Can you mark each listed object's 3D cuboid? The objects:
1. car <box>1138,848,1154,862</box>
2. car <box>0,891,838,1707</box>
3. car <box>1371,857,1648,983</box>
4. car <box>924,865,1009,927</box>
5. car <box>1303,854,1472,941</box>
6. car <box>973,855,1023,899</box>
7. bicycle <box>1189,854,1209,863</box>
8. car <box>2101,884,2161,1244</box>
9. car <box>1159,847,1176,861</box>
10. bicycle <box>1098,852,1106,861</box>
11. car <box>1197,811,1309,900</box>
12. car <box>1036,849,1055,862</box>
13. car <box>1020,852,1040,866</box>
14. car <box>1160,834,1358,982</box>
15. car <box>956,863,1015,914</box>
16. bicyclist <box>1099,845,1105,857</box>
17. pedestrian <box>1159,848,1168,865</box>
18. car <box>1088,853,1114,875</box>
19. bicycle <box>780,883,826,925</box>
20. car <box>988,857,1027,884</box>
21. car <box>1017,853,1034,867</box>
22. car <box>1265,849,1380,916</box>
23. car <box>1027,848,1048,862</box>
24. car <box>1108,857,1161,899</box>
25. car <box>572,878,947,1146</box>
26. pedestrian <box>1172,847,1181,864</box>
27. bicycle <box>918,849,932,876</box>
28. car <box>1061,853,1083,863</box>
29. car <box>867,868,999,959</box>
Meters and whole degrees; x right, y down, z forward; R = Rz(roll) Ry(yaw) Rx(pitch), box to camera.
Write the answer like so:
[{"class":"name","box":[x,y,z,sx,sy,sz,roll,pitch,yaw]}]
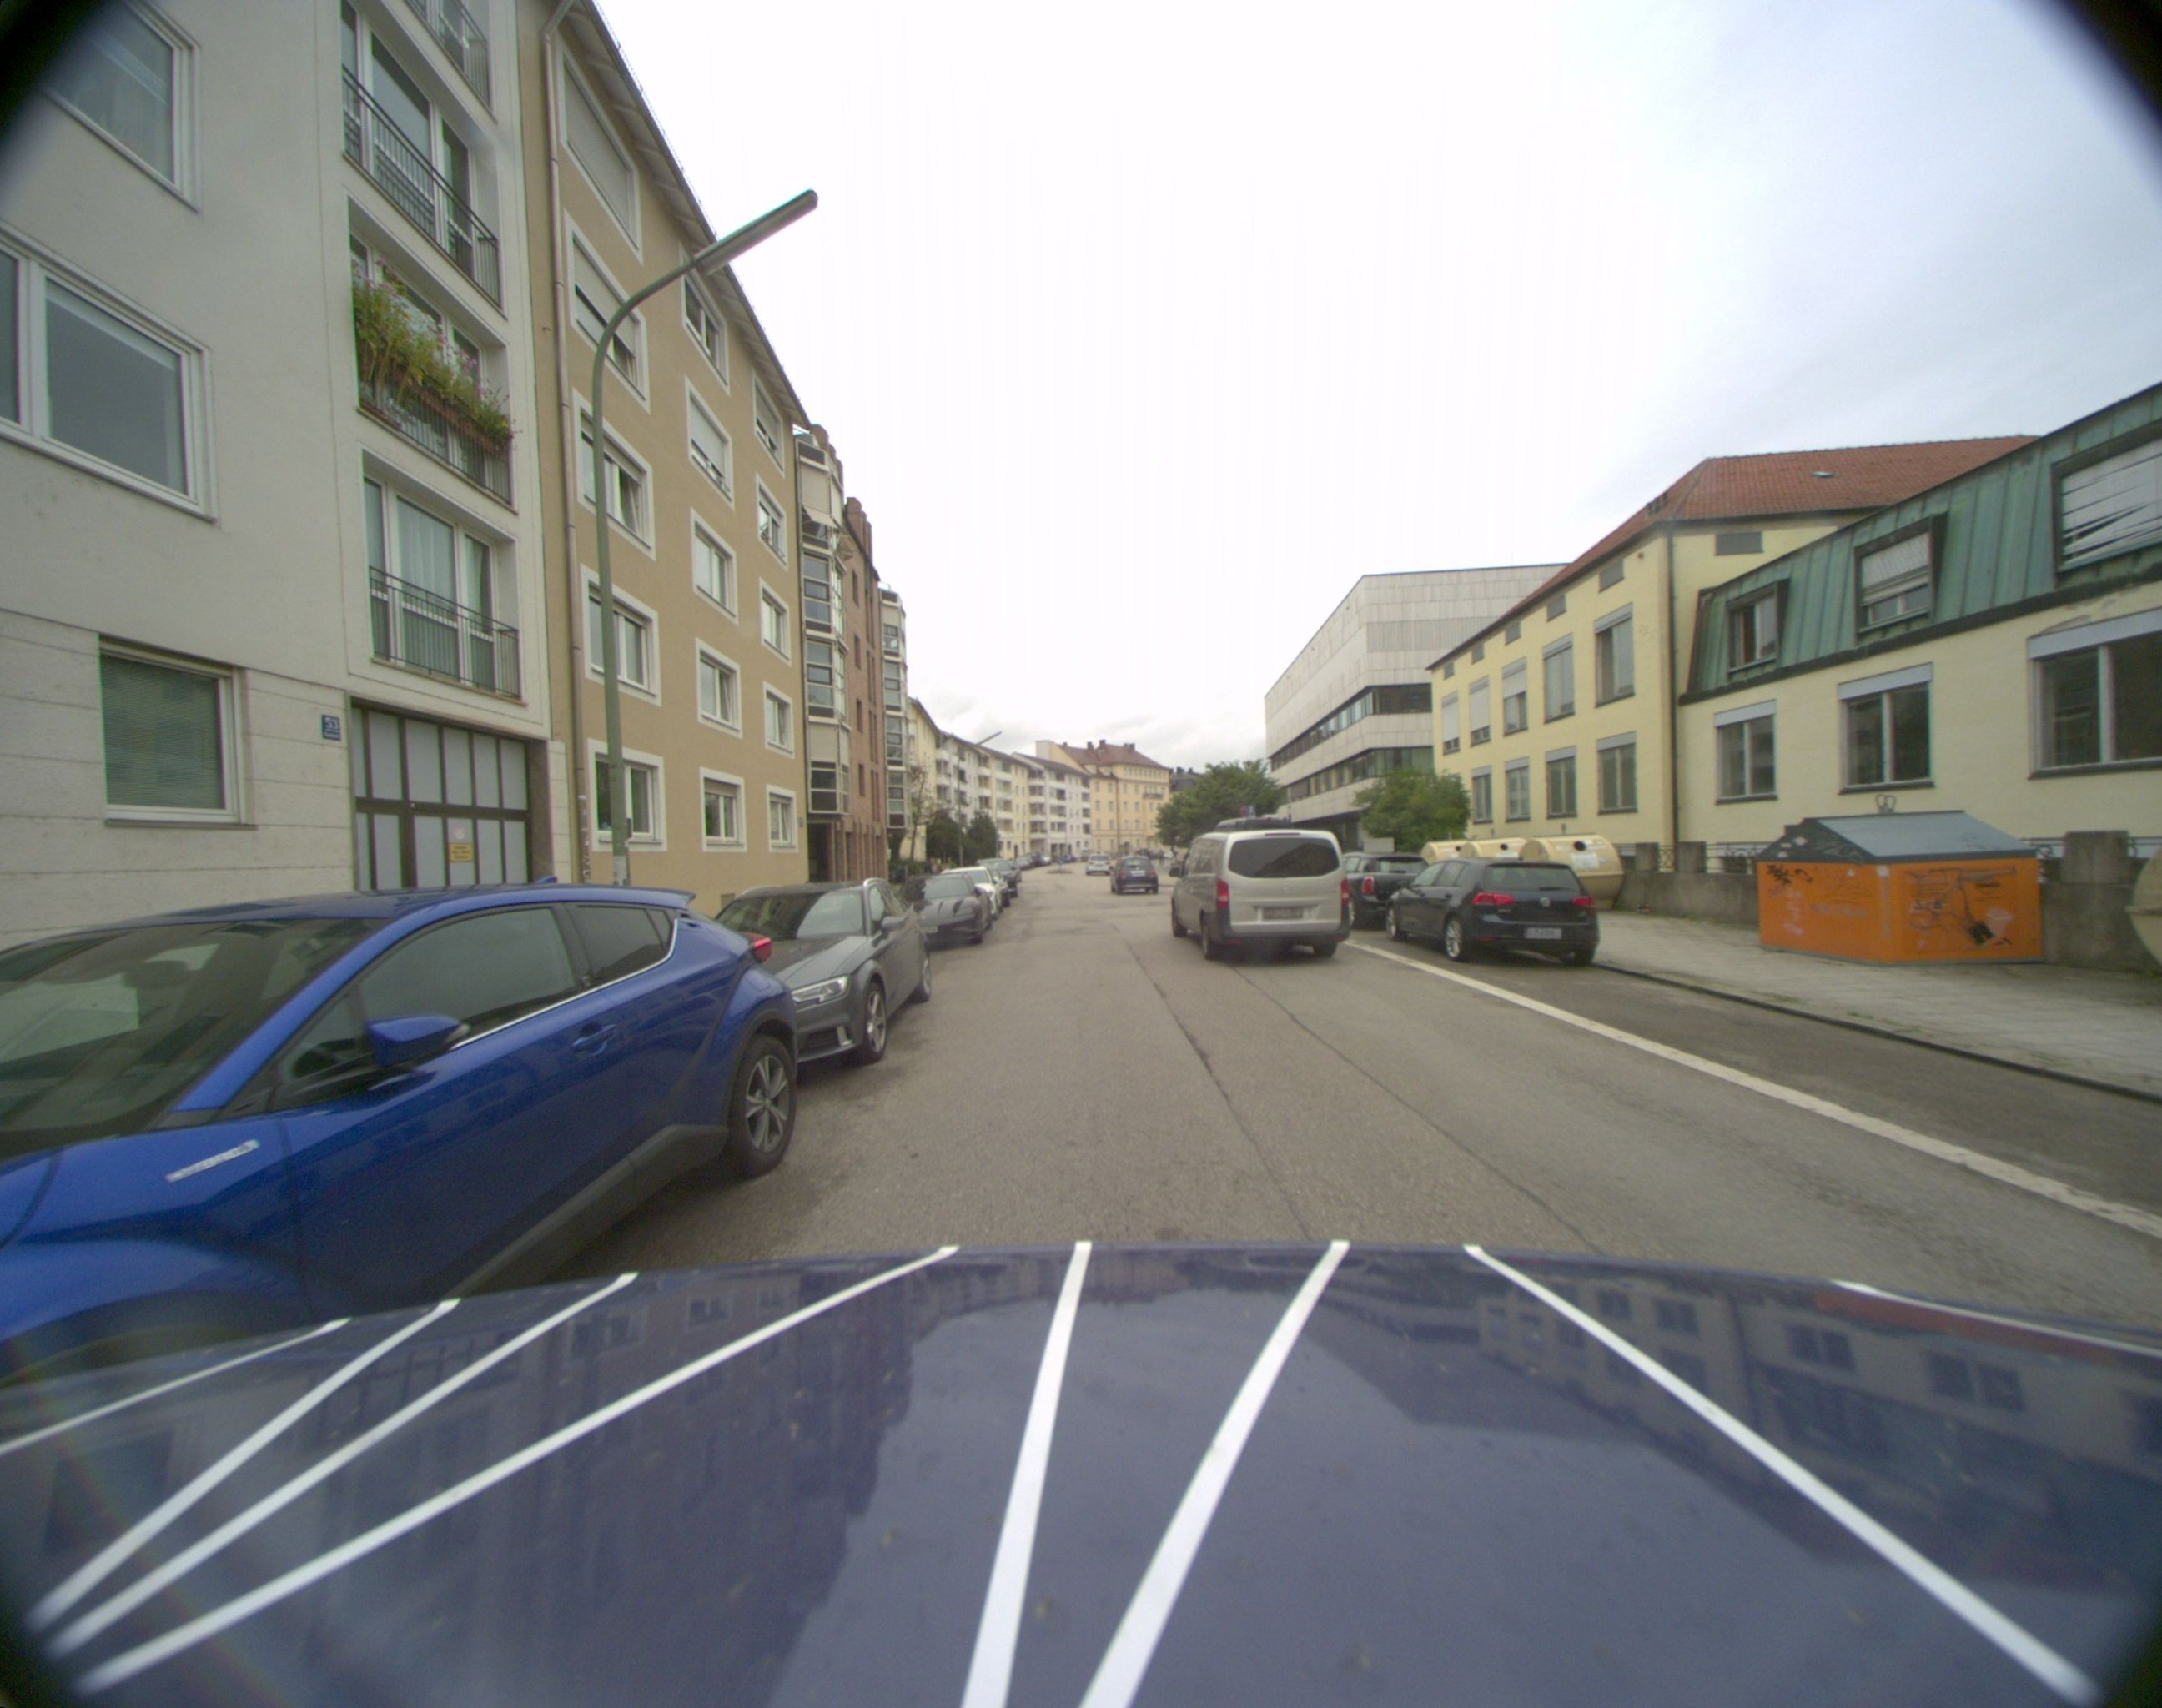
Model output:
[{"class":"car","box":[10.305,0.105,120.000,1.891,2.002,4.003,-2,1,12]},{"class":"car","box":[-2.521,1.018,2.339,1.746,1.486,4.549,-2,0,4]},{"class":"car","box":[6.107,0.815,11.579,1.917,1.473,4.533,1,0,4]},{"class":"car","box":[-3.090,1.081,21.452,1.859,1.406,5.013,-2,0,-4]},{"class":"car","box":[6.352,0.823,16.337,1.918,1.578,4.352,1,0,1]},{"class":"car","box":[-3.531,0.905,32.175,1.883,1.636,4.641,-2,0,-7]},{"class":"bicycle","box":[13.933,0.559,89.719,2.146,0.985,0.798,-1,0,-13]},{"class":"car","box":[5.194,0.877,0.817,2.019,1.410,4.615,1,1,2]},{"class":"car","box":[15.870,-0.003,139.606,1.890,2.343,4.006,-2,1,23]},{"class":"bicycle","box":[2.402,0.308,87.390,0.707,1.042,1.463,-3,0,-3]},{"class":"car","box":[5.986,0.021,27.404,2.219,2.837,6.194,0,1,-4]},{"class":"car","box":[-4.769,0.153,102.691,1.998,1.630,4.001,-2,1,4]},{"class":"car","box":[-6.055,0.558,89.909,1.823,1.467,4.001,-2,0,3]},{"class":"car","box":[2.616,0.692,12.624,1.920,1.837,5.320,-3,0,0]},{"class":"car","box":[-3.325,1.148,26.872,1.762,1.358,4.778,-6,1,-6]},{"class":"bicyclist","box":[2.382,-0.306,87.290,0.618,1.342,0.832,-2,1,-3]},{"class":"pedestrian","box":[8.551,0.278,78.875,0.787,1.776,0.516,-2,1,-3]},{"class":"car","box":[1.517,0.762,59.476,1.797,1.663,4.149,-1,0,-1]},{"class":"bicycle","box":[-7.835,1.395,21.520,0.678,1.027,1.752,-2,0,-2]},{"class":"car","box":[-4.523,0.979,47.499,1.882,1.428,4.333,-5,0,0]},{"class":"car","box":[-6.139,0.644,84.802,1.755,1.483,3.998,-2,1,-3]},{"class":"car","box":[6.459,0.695,20.843,1.884,1.627,4.349,1,0,2]},{"class":"car","box":[-5.384,0.077,94.588,1.998,1.587,4.001,-2,1,6]},{"class":"car","box":[2.072,0.899,30.439,1.665,1.466,3.707,-2,0,-2]},{"class":"car","box":[-2.464,1.092,7.136,1.710,1.446,4.400,-5,0,-3]},{"class":"pedestrian","box":[10.137,0.163,80.606,0.787,1.776,0.516,-2,1,-3]},{"class":"bicycle","box":[-11.662,0.612,56.889,0.653,2.002,1.992,-2,1,-3]},{"class":"car","box":[-1.359,0.630,118.998,1.680,1.281,4.007,-2,1,29]},{"class":"car","box":[-2.894,1.102,16.055,1.960,1.406,5.111,-2,1,-3]}]
